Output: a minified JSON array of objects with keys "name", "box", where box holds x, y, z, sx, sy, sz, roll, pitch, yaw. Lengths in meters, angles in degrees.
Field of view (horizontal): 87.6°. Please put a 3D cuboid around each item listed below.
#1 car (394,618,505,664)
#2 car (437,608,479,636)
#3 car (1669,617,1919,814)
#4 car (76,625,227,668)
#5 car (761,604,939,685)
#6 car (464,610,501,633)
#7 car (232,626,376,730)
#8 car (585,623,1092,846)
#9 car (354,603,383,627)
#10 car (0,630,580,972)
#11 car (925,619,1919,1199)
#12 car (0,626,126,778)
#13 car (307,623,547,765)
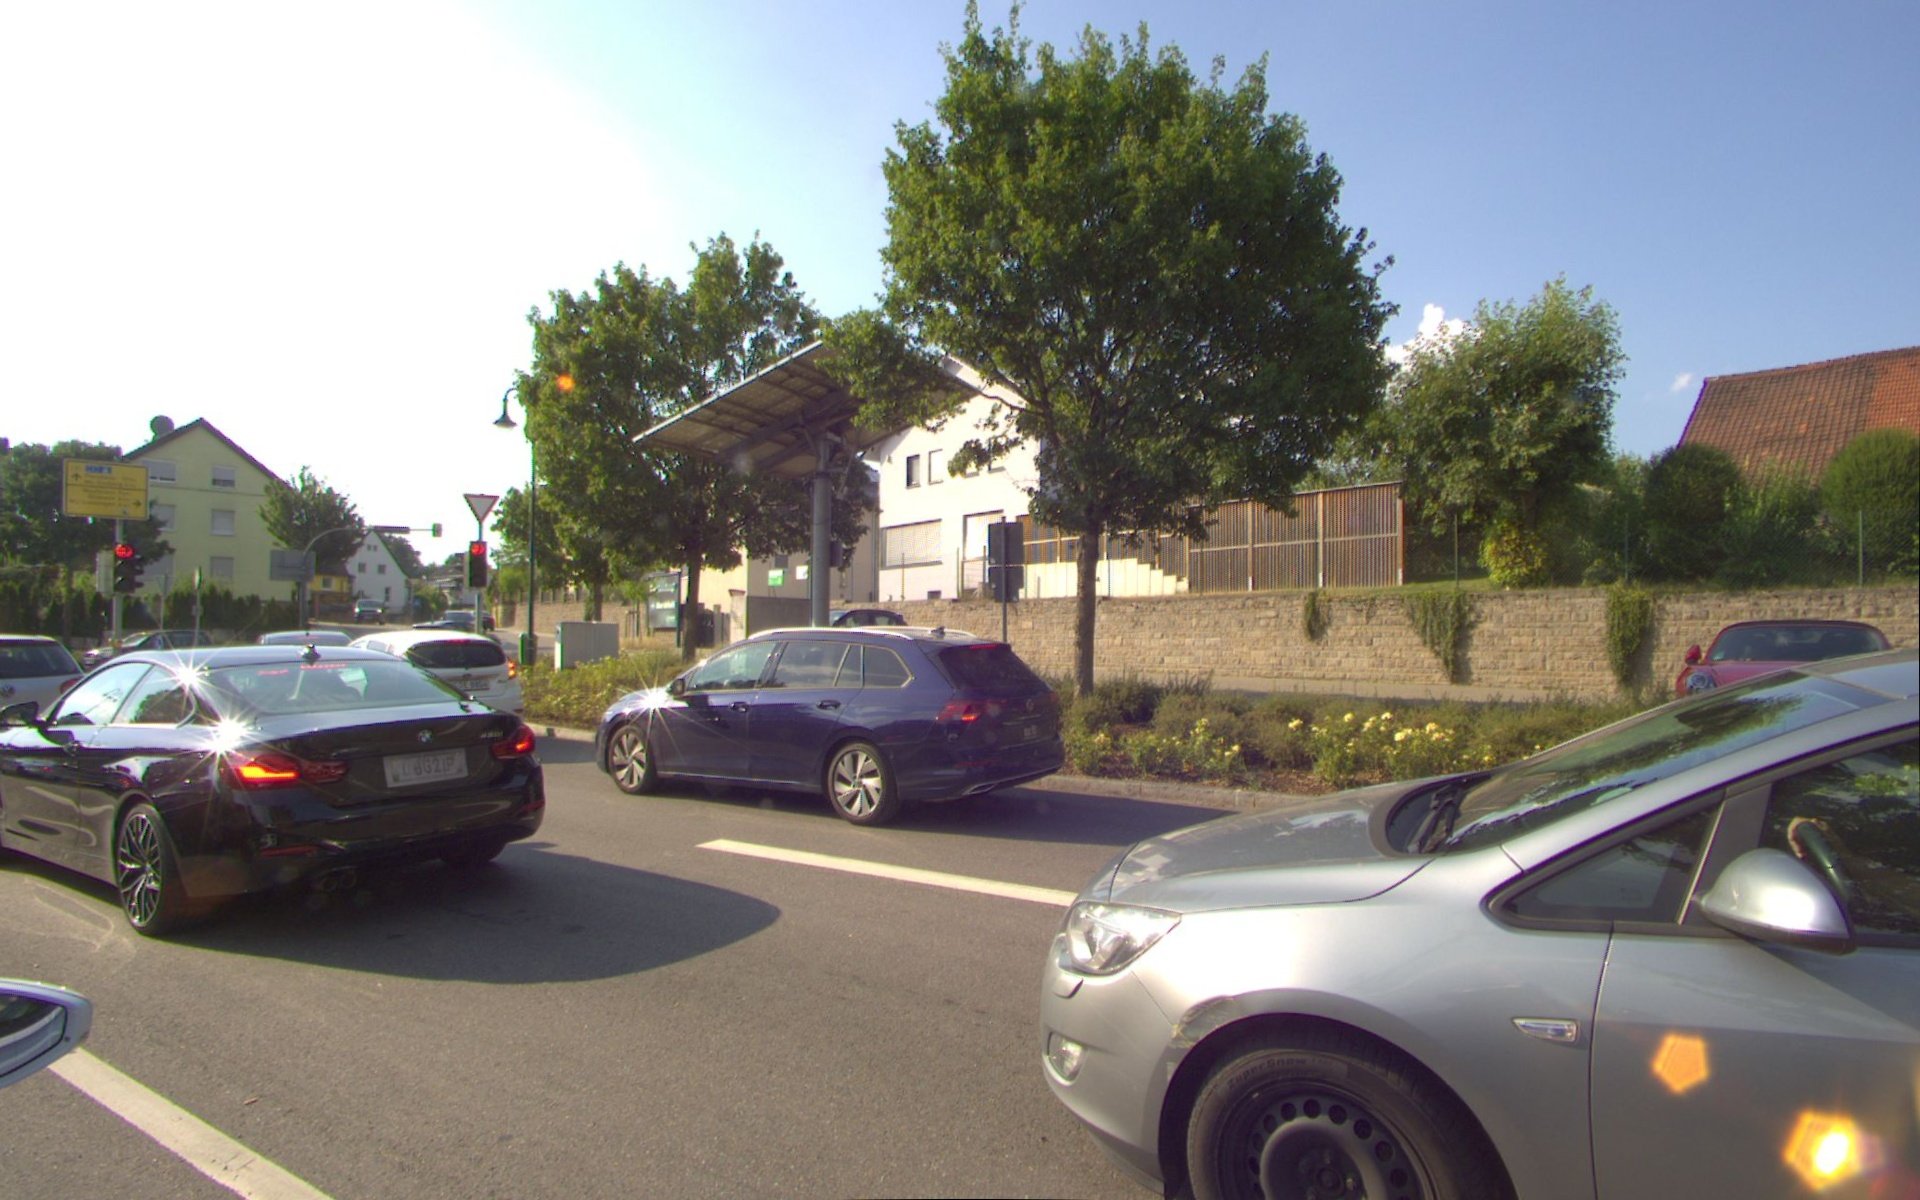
[{"name":"car","box":[-20.034,1.563,39.536,1.933,1.701,4.215,-1,-1,6]},{"name":"car","box":[-30.192,1.345,60.144,1.823,1.662,4.405,1,-2,-32]},{"name":"car","box":[8.230,0.960,9.744,1.758,1.510,4.120,-1,-2,41]},{"name":"car","box":[-30.069,1.721,37.362,1.821,1.508,3.983,-1,-2,30]},{"name":"car","box":[-2.373,0.968,22.297,1.758,1.653,3.800,-1,-2,40]},{"name":"car","box":[-35.848,1.624,75.077,1.945,1.701,4.189,0,-1,-34]},{"name":"car","box":[-11.749,1.276,17.813,1.643,1.562,4.362,0,0,-40]},{"name":"car","box":[-1.167,0.955,8.673,4.259,1.472,1.757,-1,0,34]},{"name":"car","box":[-46.412,1.201,78.627,1.822,1.761,4.760,1,-2,-30]},{"name":"car","box":[-4.430,0.920,6.185,4.220,1.416,1.758,-1,0,33]},{"name":"car","box":[2.178,0.789,2.161,4.256,1.472,1.758,-1,0,31]},{"name":"car","box":[-10.801,1.016,10.778,3.848,1.444,1.758,-1,0,33]},{"name":"car","box":[-6.913,1.086,12.887,3.278,1.562,1.611,-1,0,40]}]
